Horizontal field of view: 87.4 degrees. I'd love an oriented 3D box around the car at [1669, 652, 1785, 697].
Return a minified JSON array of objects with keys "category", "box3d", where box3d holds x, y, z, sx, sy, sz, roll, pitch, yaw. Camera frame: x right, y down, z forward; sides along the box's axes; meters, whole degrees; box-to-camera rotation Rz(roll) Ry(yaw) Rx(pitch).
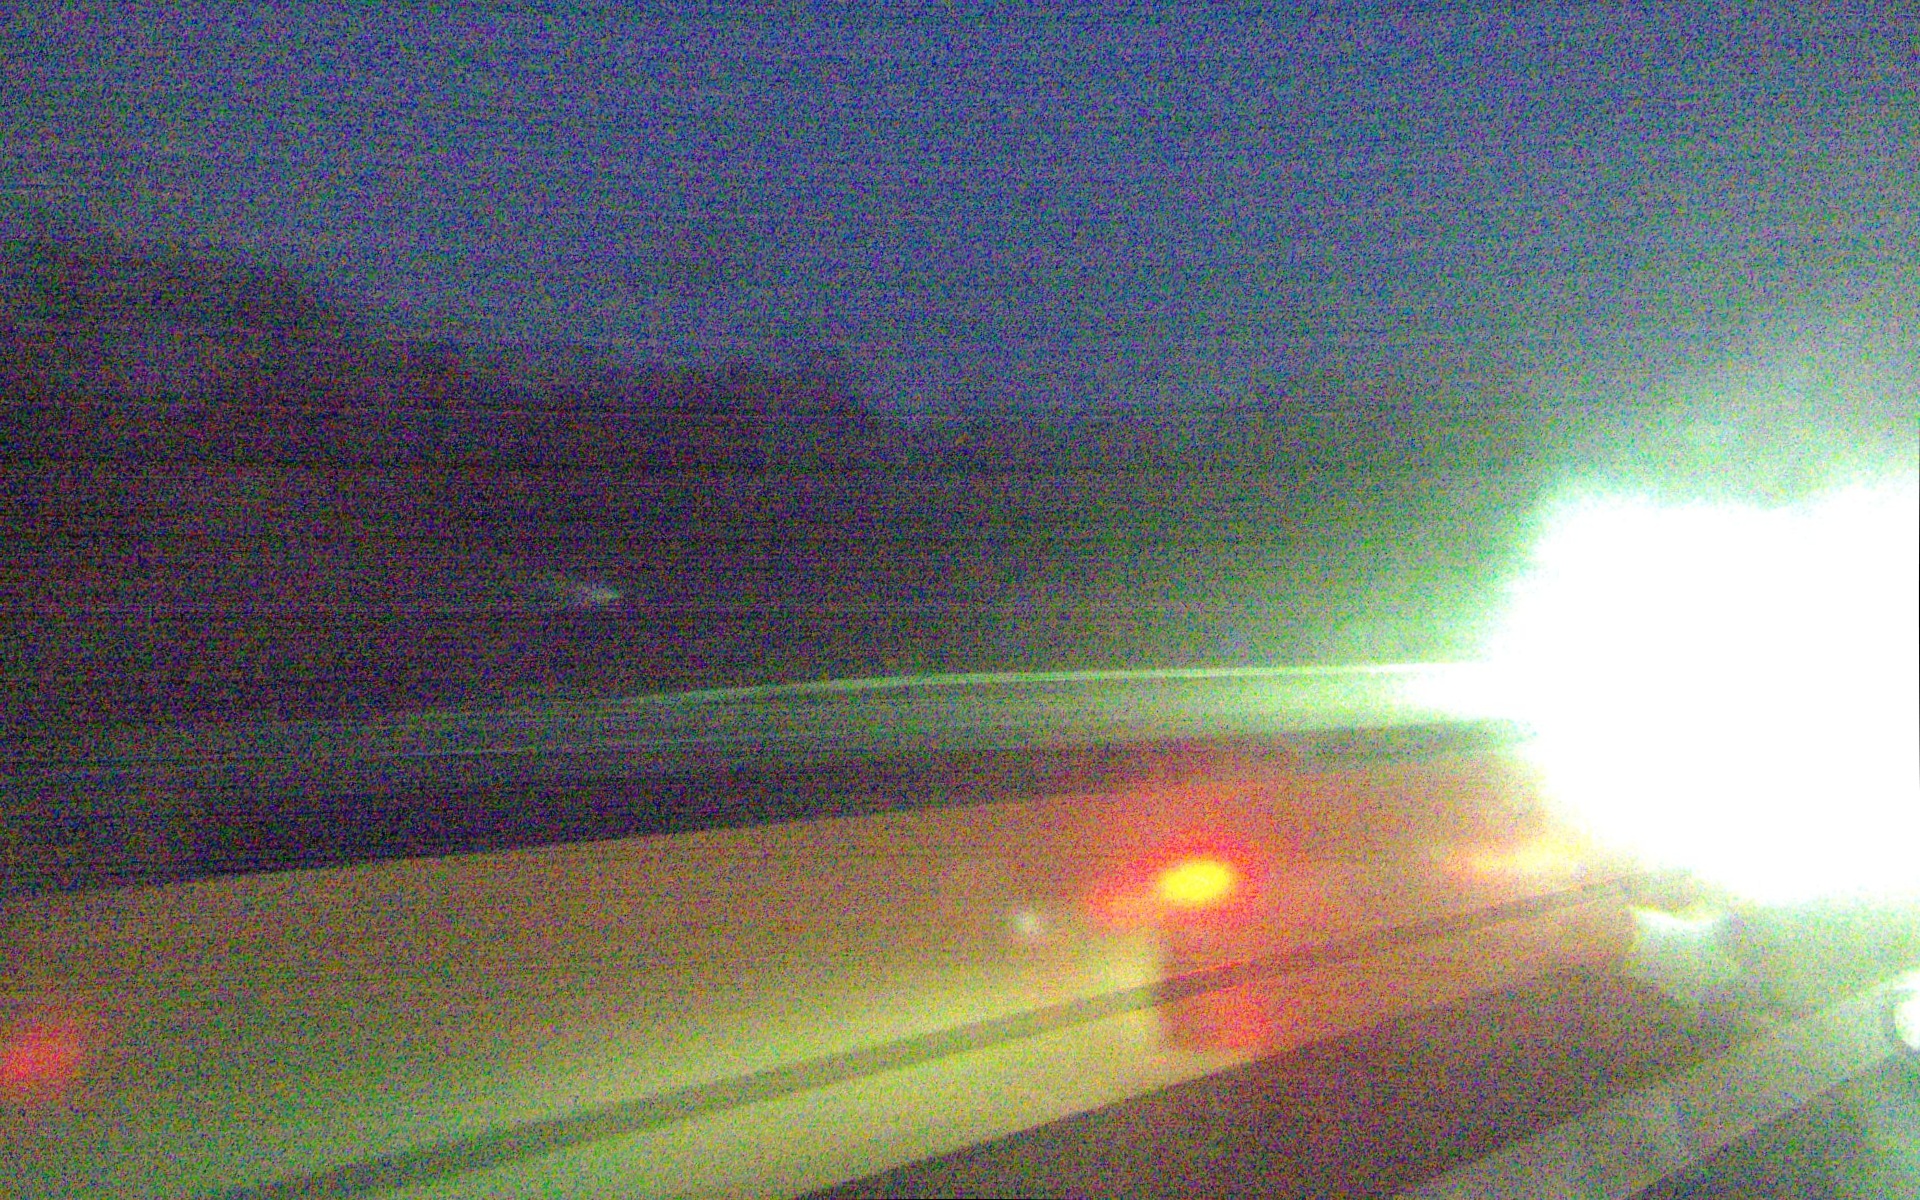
[{"category":"car","box3d":[26.266,2.495,34.357,4.305,1.440,1.773,2,-3,-32]}]
